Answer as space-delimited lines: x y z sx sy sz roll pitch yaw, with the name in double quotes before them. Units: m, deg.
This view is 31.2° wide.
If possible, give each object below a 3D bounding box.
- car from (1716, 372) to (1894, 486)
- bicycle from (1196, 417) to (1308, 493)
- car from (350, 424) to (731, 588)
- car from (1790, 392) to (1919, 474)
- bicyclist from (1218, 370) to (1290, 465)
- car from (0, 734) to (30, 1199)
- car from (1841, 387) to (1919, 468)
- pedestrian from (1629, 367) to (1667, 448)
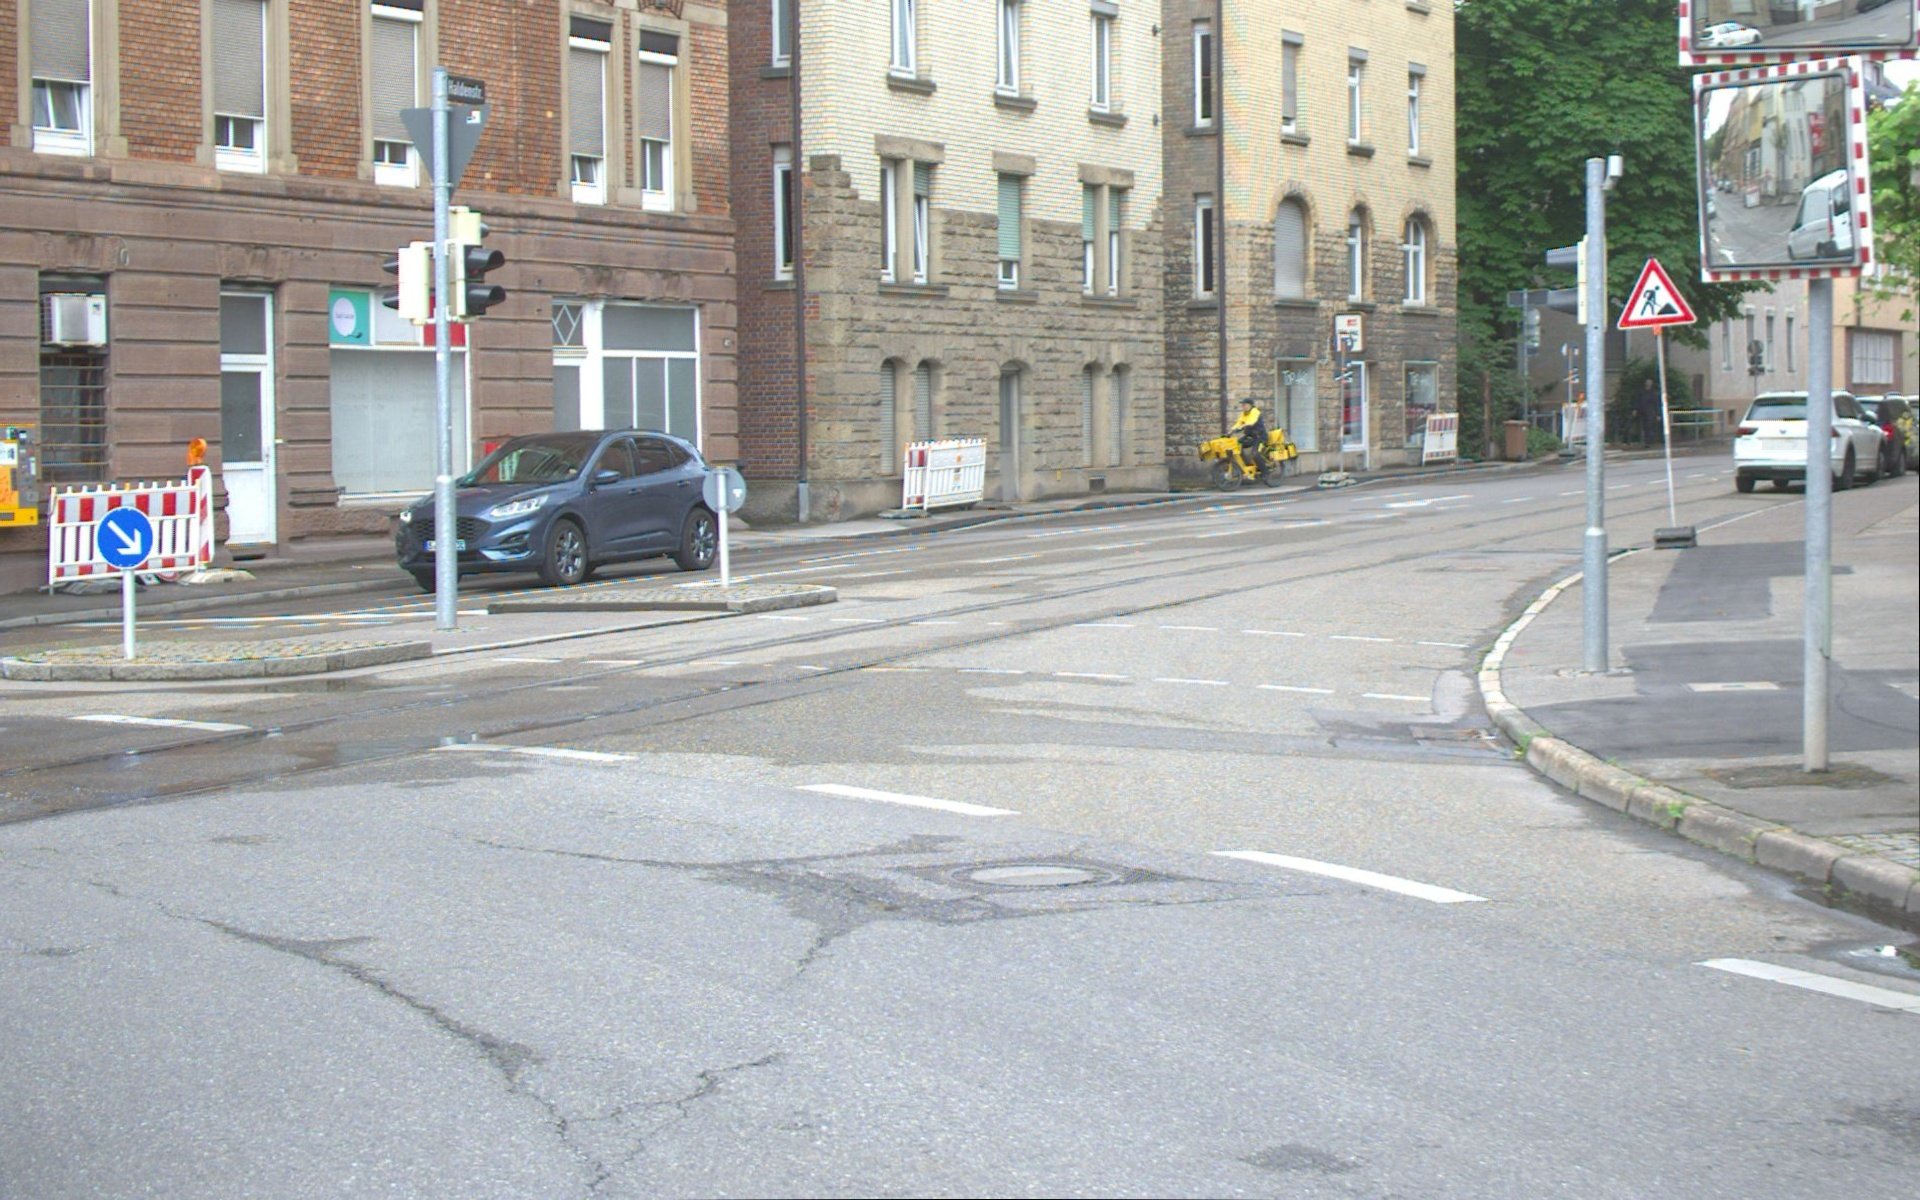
"car" 13.840 -2.790 56.177 1.952 1.712 3.995 -2 2 26
"bicycle" 5.469 -2.719 64.235 0.633 1.302 2.593 -3 2 40
"car" -4.484 -1.053 37.398 1.996 1.509 4.280 -2 3 27
"car" 16.130 -2.969 61.130 1.996 1.283 3.996 -3 2 23
"bicyclist" 5.493 -3.409 64.244 0.945 1.696 0.784 -2 2 42
"car" -4.112 0.648 7.568 4.394 1.404 1.763 -2 2 41
"car" 18.390 -3.335 66.289 1.812 1.457 3.995 -2 2 28
"pedestrian" 17.271 -4.829 86.263 0.765 2.006 0.753 -1 2 22
